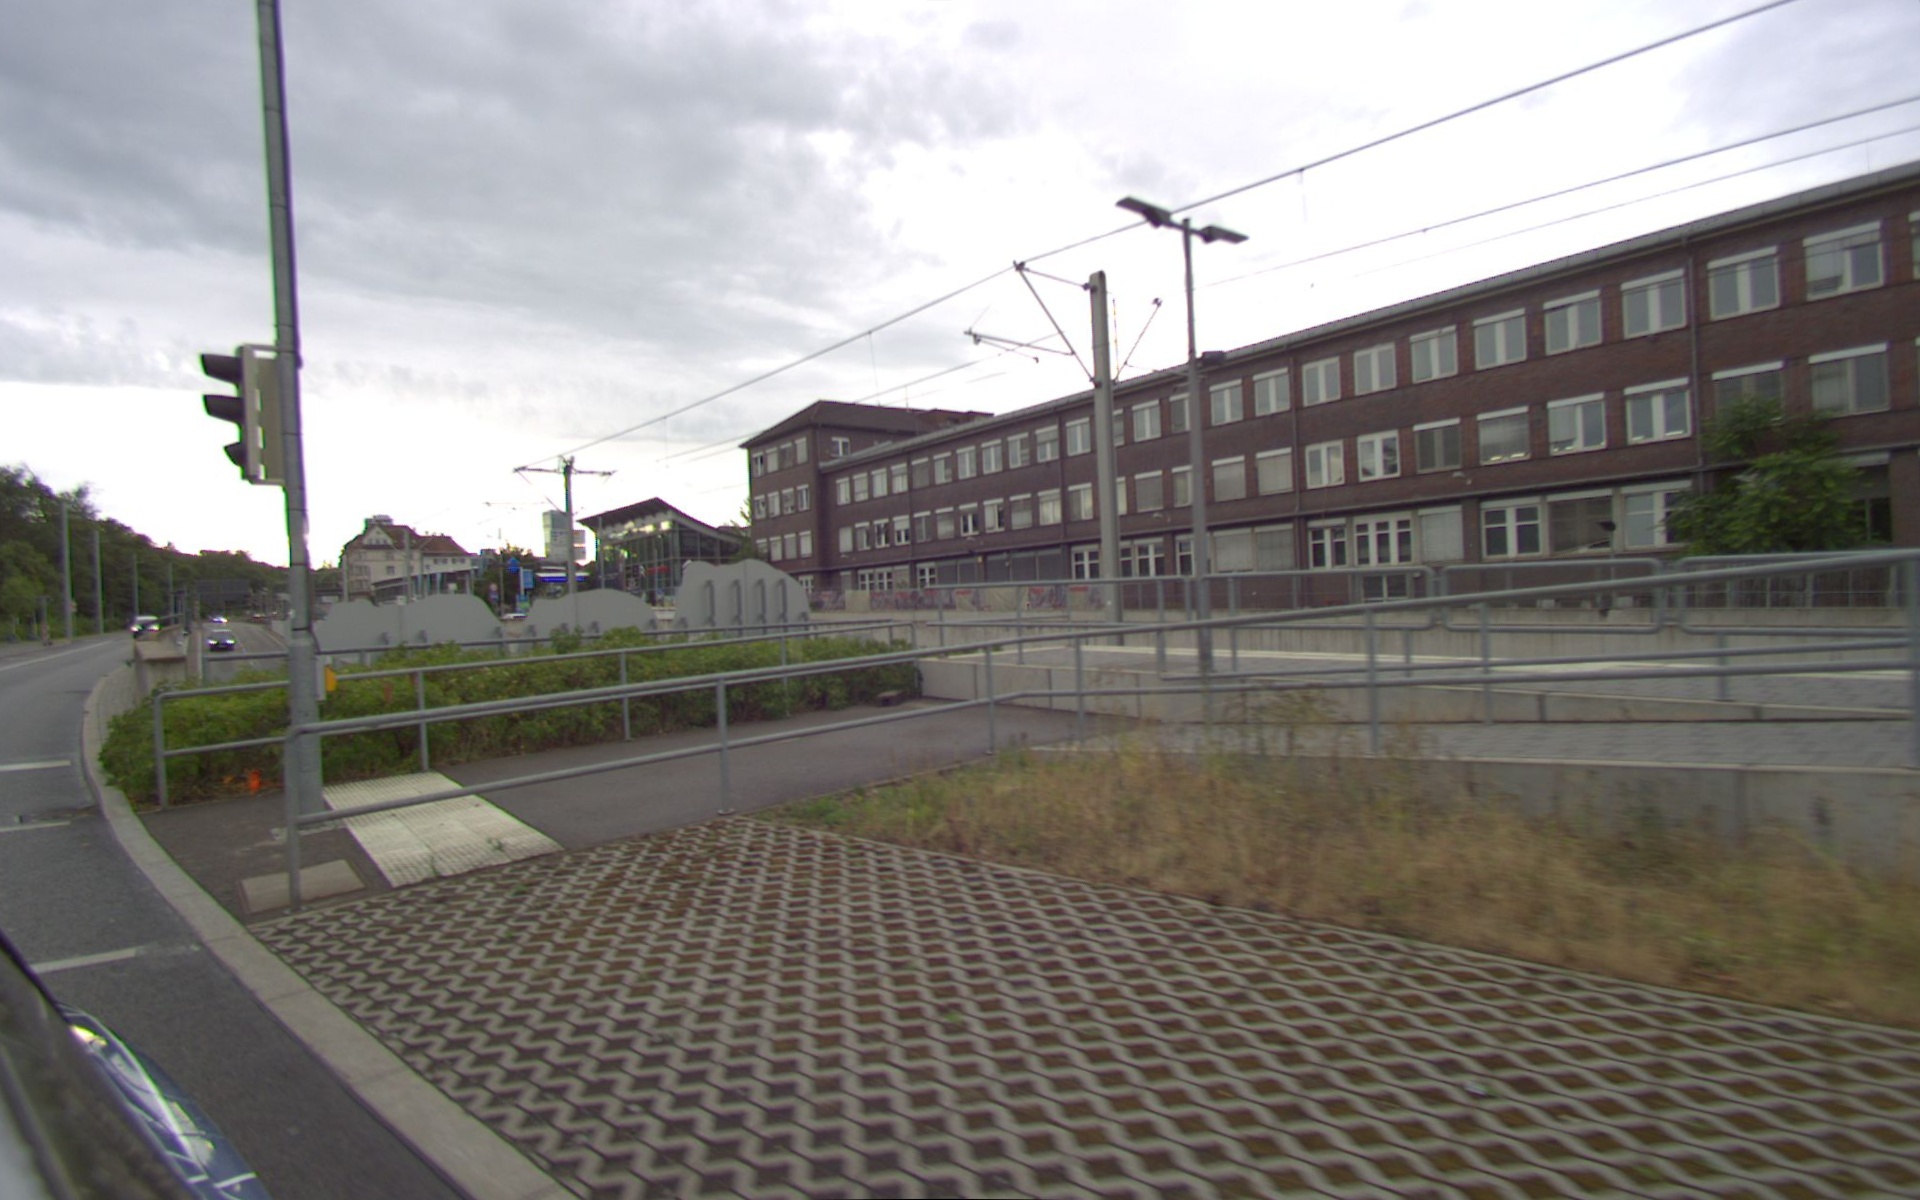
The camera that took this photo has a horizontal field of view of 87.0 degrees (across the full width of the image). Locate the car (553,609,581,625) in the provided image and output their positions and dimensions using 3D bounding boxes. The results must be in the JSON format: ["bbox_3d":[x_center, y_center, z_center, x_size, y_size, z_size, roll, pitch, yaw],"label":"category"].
[{"bbox_3d":[-46.120,2.056,118.761,1.968,1.785,4.007,-2,0,-39],"label":"car"}]

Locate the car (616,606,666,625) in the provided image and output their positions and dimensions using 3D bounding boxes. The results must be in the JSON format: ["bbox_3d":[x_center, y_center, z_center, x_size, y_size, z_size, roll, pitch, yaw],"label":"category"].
[{"bbox_3d":[-33.278,1.613,105.547,4.506,1.773,2.004,-2,0,-38],"label":"car"}]

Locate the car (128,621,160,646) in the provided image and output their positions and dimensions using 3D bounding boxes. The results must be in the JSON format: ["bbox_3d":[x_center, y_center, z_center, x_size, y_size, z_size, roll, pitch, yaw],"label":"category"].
[{"bbox_3d":[-69.070,2.782,85.718,1.968,2.029,4.008,0,-1,-37],"label":"car"}]

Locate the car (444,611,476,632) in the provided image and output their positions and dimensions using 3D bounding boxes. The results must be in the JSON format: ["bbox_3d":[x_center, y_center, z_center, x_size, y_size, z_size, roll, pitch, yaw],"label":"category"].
[{"bbox_3d":[-51.481,2.219,104.212,1.969,2.029,4.006,0,-1,-41],"label":"car"}]

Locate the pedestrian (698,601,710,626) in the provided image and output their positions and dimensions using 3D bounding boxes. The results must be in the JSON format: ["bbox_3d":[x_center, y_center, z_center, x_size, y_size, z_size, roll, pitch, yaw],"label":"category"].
[{"bbox_3d":[-20.983,1.111,82.990,0.723,2.029,0.577,-1,-1,16],"label":"pedestrian"}]

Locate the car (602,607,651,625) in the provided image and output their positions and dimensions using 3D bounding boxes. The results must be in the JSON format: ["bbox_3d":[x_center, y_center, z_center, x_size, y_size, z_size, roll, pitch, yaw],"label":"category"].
[{"bbox_3d":[-35.447,1.690,107.553,4.506,1.773,2.004,-2,0,-38],"label":"car"}]

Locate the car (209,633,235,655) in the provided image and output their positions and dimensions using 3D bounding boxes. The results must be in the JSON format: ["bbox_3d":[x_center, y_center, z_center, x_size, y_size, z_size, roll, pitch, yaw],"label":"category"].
[{"bbox_3d":[-72.115,4.281,98.896,1.967,2.029,4.009,0,-1,-36],"label":"car"}]

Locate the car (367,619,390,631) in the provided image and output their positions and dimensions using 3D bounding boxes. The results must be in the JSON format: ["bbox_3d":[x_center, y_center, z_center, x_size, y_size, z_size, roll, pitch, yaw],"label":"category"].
[{"bbox_3d":[-85.237,3.706,148.352,2.087,1.729,4.588,-2,0,-40],"label":"car"}]
